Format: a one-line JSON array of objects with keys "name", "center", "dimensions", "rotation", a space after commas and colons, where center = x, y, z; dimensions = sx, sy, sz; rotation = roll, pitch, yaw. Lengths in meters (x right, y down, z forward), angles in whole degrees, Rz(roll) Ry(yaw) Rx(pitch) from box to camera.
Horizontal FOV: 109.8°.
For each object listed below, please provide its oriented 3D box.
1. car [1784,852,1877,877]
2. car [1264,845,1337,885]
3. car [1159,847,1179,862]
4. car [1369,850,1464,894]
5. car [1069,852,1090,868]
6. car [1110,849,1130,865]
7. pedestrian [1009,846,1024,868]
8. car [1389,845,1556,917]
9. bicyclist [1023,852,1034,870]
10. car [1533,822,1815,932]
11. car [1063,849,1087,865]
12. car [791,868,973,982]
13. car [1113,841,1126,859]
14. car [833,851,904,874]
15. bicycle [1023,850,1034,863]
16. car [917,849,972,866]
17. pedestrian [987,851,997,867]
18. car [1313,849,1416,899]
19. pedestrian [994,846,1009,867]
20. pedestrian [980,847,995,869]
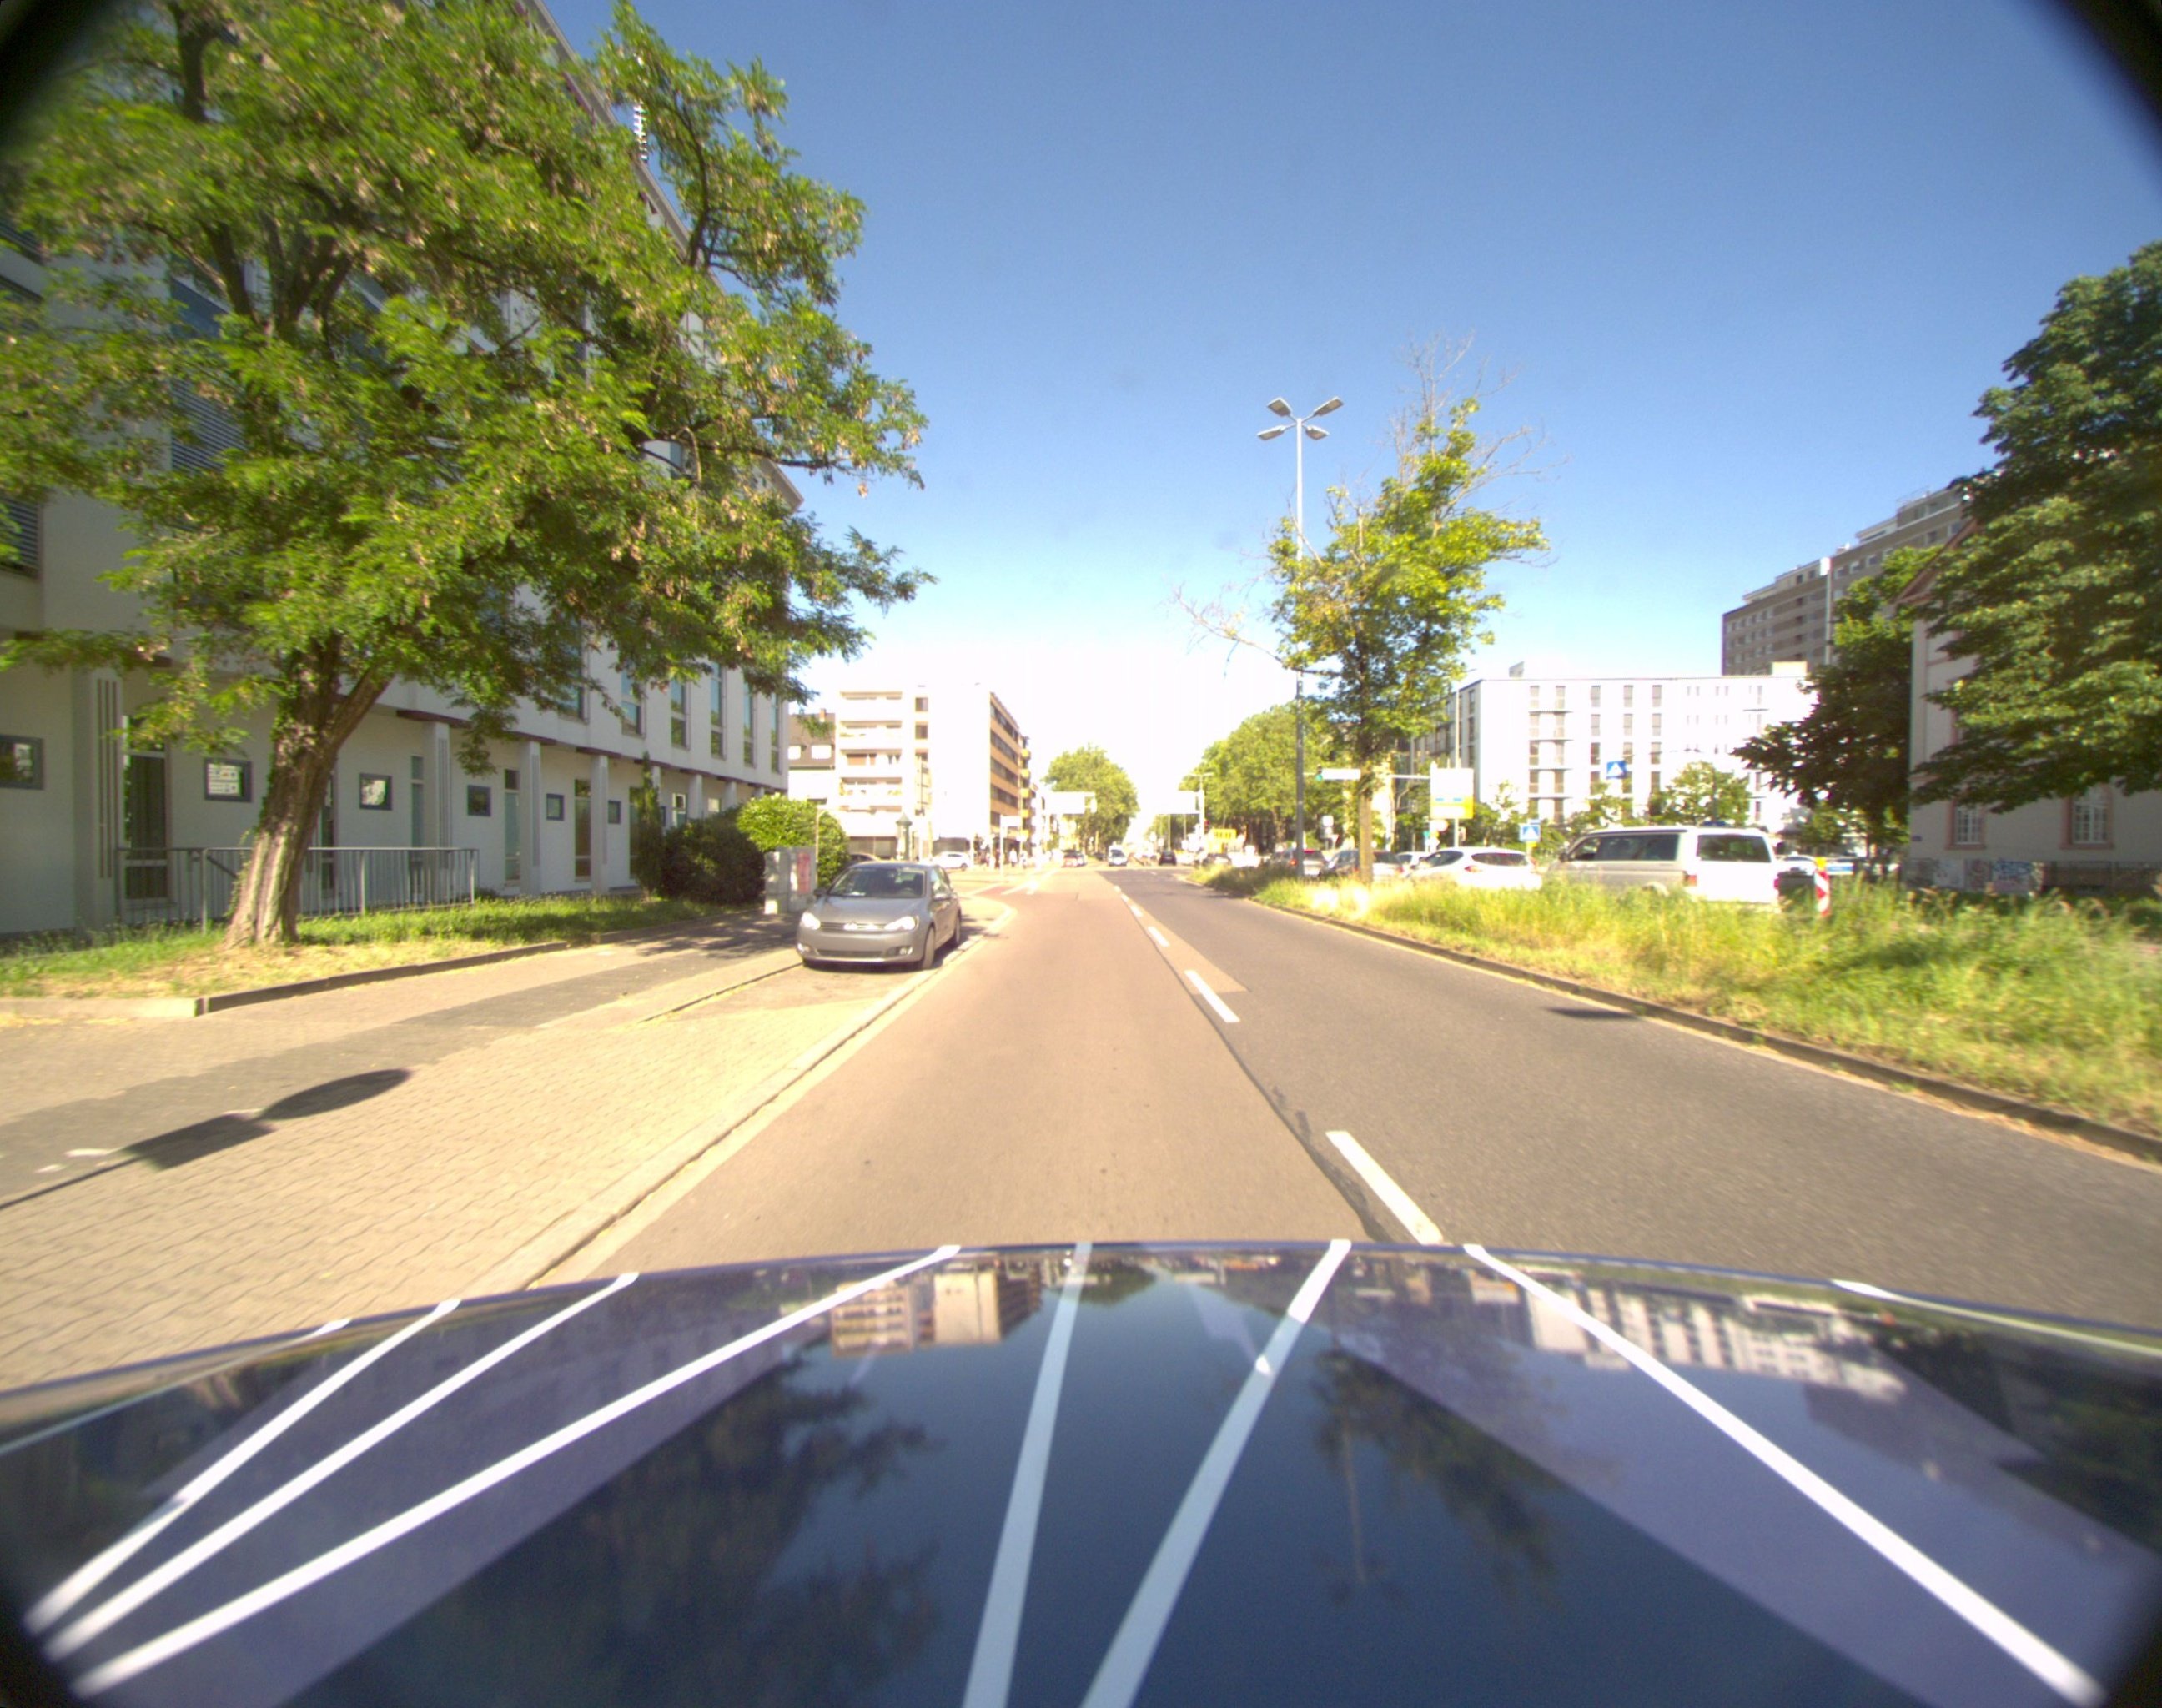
[{"name": "car", "center": [54.319, 0.746, 55.141], "dimensions": [4.707, 1.609, 1.918], "rotation": [-1, 4, 3]}, {"name": "car", "center": [9.116, 0.409, 31.906], "dimensions": [1.800, 1.510, 4.346], "rotation": [-1, 1, 0]}, {"name": "car", "center": [9.516, 0.075, 82.189], "dimensions": [1.861, 1.576, 4.278], "rotation": [0, 1, 2]}, {"name": "car", "center": [12.565, 0.621, 28.749], "dimensions": [1.800, 1.510, 4.079], "rotation": [0, 1, 0]}, {"name": "car", "center": [-0.156, 0.674, 87.674], "dimensions": [1.882, 1.511, 4.000], "rotation": [-1, 3, 8]}, {"name": "car", "center": [4.192, 0.302, 81.176], "dimensions": [1.882, 1.511, 4.000], "rotation": [-1, 3, 8]}, {"name": "pedestrian", "center": [-5.030, 0.229, 59.383], "dimensions": [0.788, 1.599, 0.927], "rotation": [-4, 5, -33]}, {"name": "car", "center": [9.093, 0.543, 18.075], "dimensions": [1.800, 1.510, 4.204], "rotation": [0, 1, 0]}, {"name": "bicyclist", "center": [-4.439, 0.601, 64.673], "dimensions": [0.870, 1.525, 0.852], "rotation": [-1, 2, -7]}, {"name": "car", "center": [12.496, 0.400, 16.614], "dimensions": [2.239, 2.016, 5.016], "rotation": [0, 1, 0]}, {"name": "car", "center": [-0.598, 0.295, 79.612], "dimensions": [1.882, 1.510, 4.002], "rotation": [-1, 1, 8]}, {"name": "car", "center": [-2.801, 0.938, 11.652], "dimensions": [1.642, 1.439, 4.156], "rotation": [0, -1, 1]}, {"name": "car", "center": [5.667, -0.615, 112.261], "dimensions": [1.883, 2.498, 4.451], "rotation": [0, 1, 3]}, {"name": "car", "center": [-14.007, 0.533, 50.137], "dimensions": [4.052, 1.400, 1.885], "rotation": [-1, 1, 7]}, {"name": "bicycle", "center": [-4.467, 0.240, 64.993], "dimensions": [0.867, 0.985, 1.900], "rotation": [-2, 3, -6]}, {"name": "car", "center": [-12.313, 0.306, 68.754], "dimensions": [4.559, 1.510, 1.880], "rotation": [0, -1, -39]}, {"name": "pedestrian", "center": [-6.909, 0.420, 58.974], "dimensions": [0.647, 1.196, 0.526], "rotation": [-1, 4, 11]}, {"name": "car", "center": [9.367, 0.609, 25.469], "dimensions": [1.800, 1.510, 4.363], "rotation": [-1, 0, 0]}, {"name": "pedestrian", "center": [-6.163, 0.192, 58.846], "dimensions": [0.897, 1.614, 0.721], "rotation": [-1, 4, 11]}, {"name": "pedestrian", "center": [-7.376, 0.313, 59.766], "dimensions": [0.798, 1.635, 0.982], "rotation": [-4, 5, -33]}]
